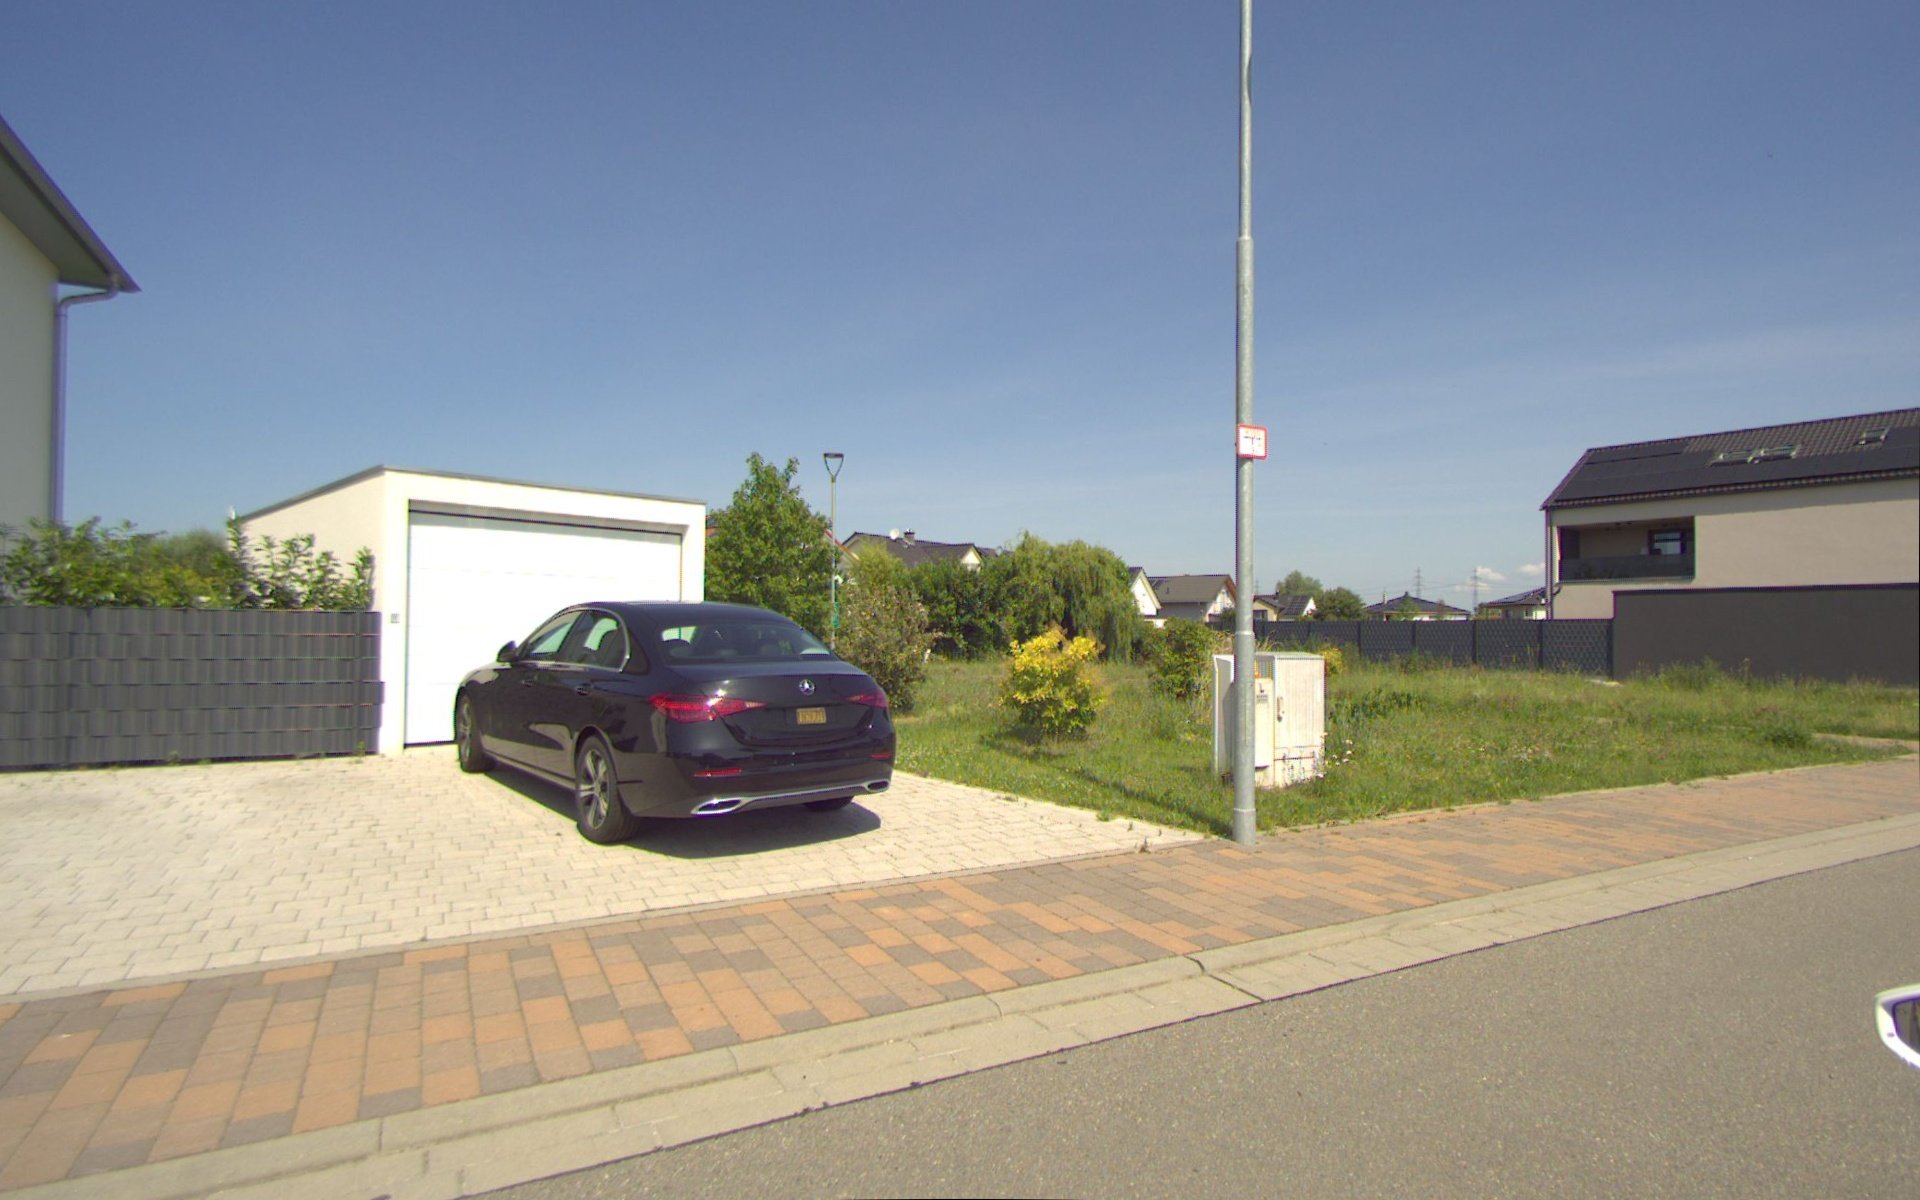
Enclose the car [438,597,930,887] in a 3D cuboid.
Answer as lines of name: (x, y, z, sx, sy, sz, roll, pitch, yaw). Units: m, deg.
car: (-2.276, 0.737, 7.346, 1.736, 1.471, 4.353, 2, -1, -41)
